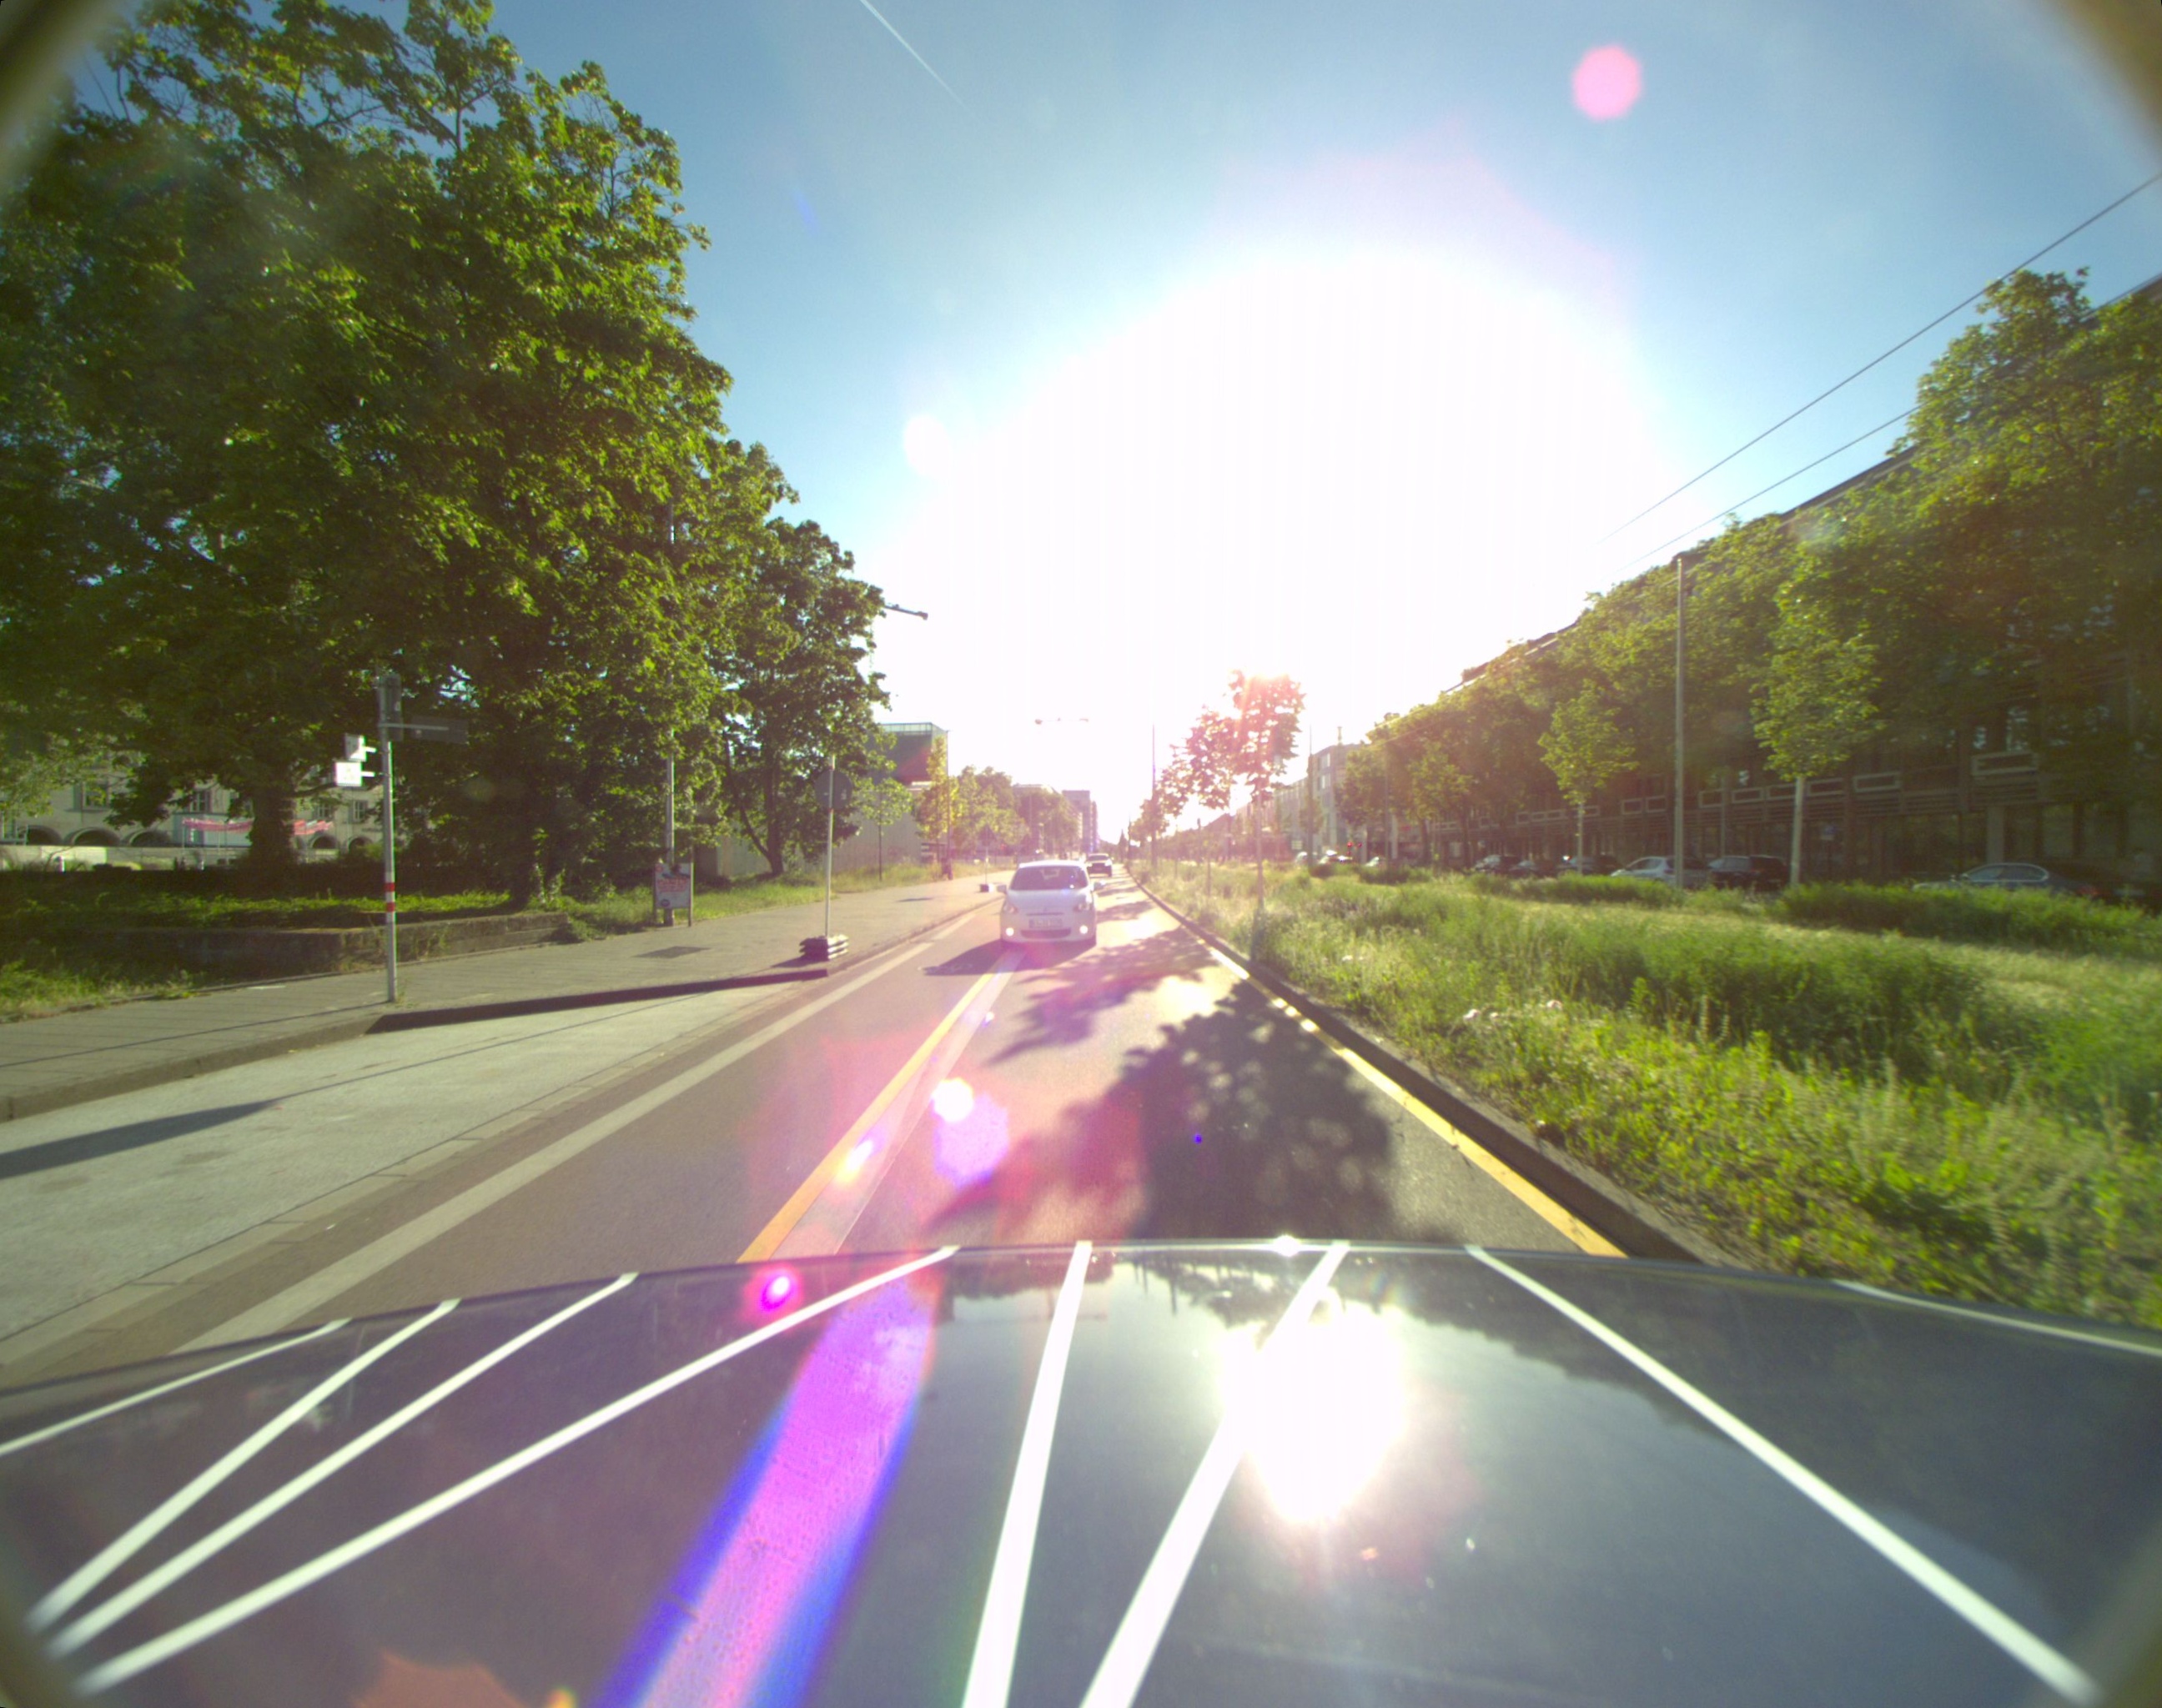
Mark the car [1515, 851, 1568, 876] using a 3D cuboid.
[{"bbox_3d":[31.517,0.590,52.106,1.510,1.592,3.527,-2,0,1],"label":"car"}]

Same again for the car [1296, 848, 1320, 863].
[{"bbox_3d":[26.211,0.192,87.810,1.865,1.671,3.780,0,0,3],"label":"car"}]

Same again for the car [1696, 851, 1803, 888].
[{"bbox_3d":[30.664,0.687,34.993,1.726,1.535,3.631,-2,0,1],"label":"car"}]

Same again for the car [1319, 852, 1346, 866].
[{"bbox_3d":[25.332,0.464,76.638,1.554,1.371,3.780,0,0,3],"label":"car"}]

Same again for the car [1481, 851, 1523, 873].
[{"bbox_3d":[31.977,0.573,57.782,1.390,1.592,3.266,-2,0,1],"label":"car"}]

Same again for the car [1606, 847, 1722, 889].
[{"bbox_3d":[21.861,0.483,28.681,1.631,1.487,3.780,0,0,3],"label":"car"}]

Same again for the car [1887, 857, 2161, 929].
[{"bbox_3d":[22.599,0.839,18.390,1.631,1.487,4.417,0,0,3],"label":"car"}]

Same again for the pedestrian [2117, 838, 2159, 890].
[{"bbox_3d":[35.275,0.328,25.359,0.483,1.739,0.639,0,1,3],"label":"pedestrian"}]

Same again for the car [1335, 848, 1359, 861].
[{"bbox_3d":[29.284,0.014,83.673,1.554,1.371,3.780,0,0,3],"label":"car"}]

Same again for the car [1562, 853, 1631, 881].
[{"bbox_3d":[31.500,0.770,46.549,1.726,1.592,3.631,-2,0,1],"label":"car"}]

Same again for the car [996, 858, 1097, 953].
[{"bbox_3d":[-0.548,0.878,14.547,1.614,1.489,3.394,-3,1,1],"label":"car"}]

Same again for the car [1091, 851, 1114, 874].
[{"bbox_3d":[1.551,0.580,55.644,1.459,1.472,3.526,-4,1,0],"label":"car"}]

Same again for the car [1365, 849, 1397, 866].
[{"bbox_3d":[27.731,0.324,70.339,1.631,1.487,3.780,0,0,3],"label":"car"}]
